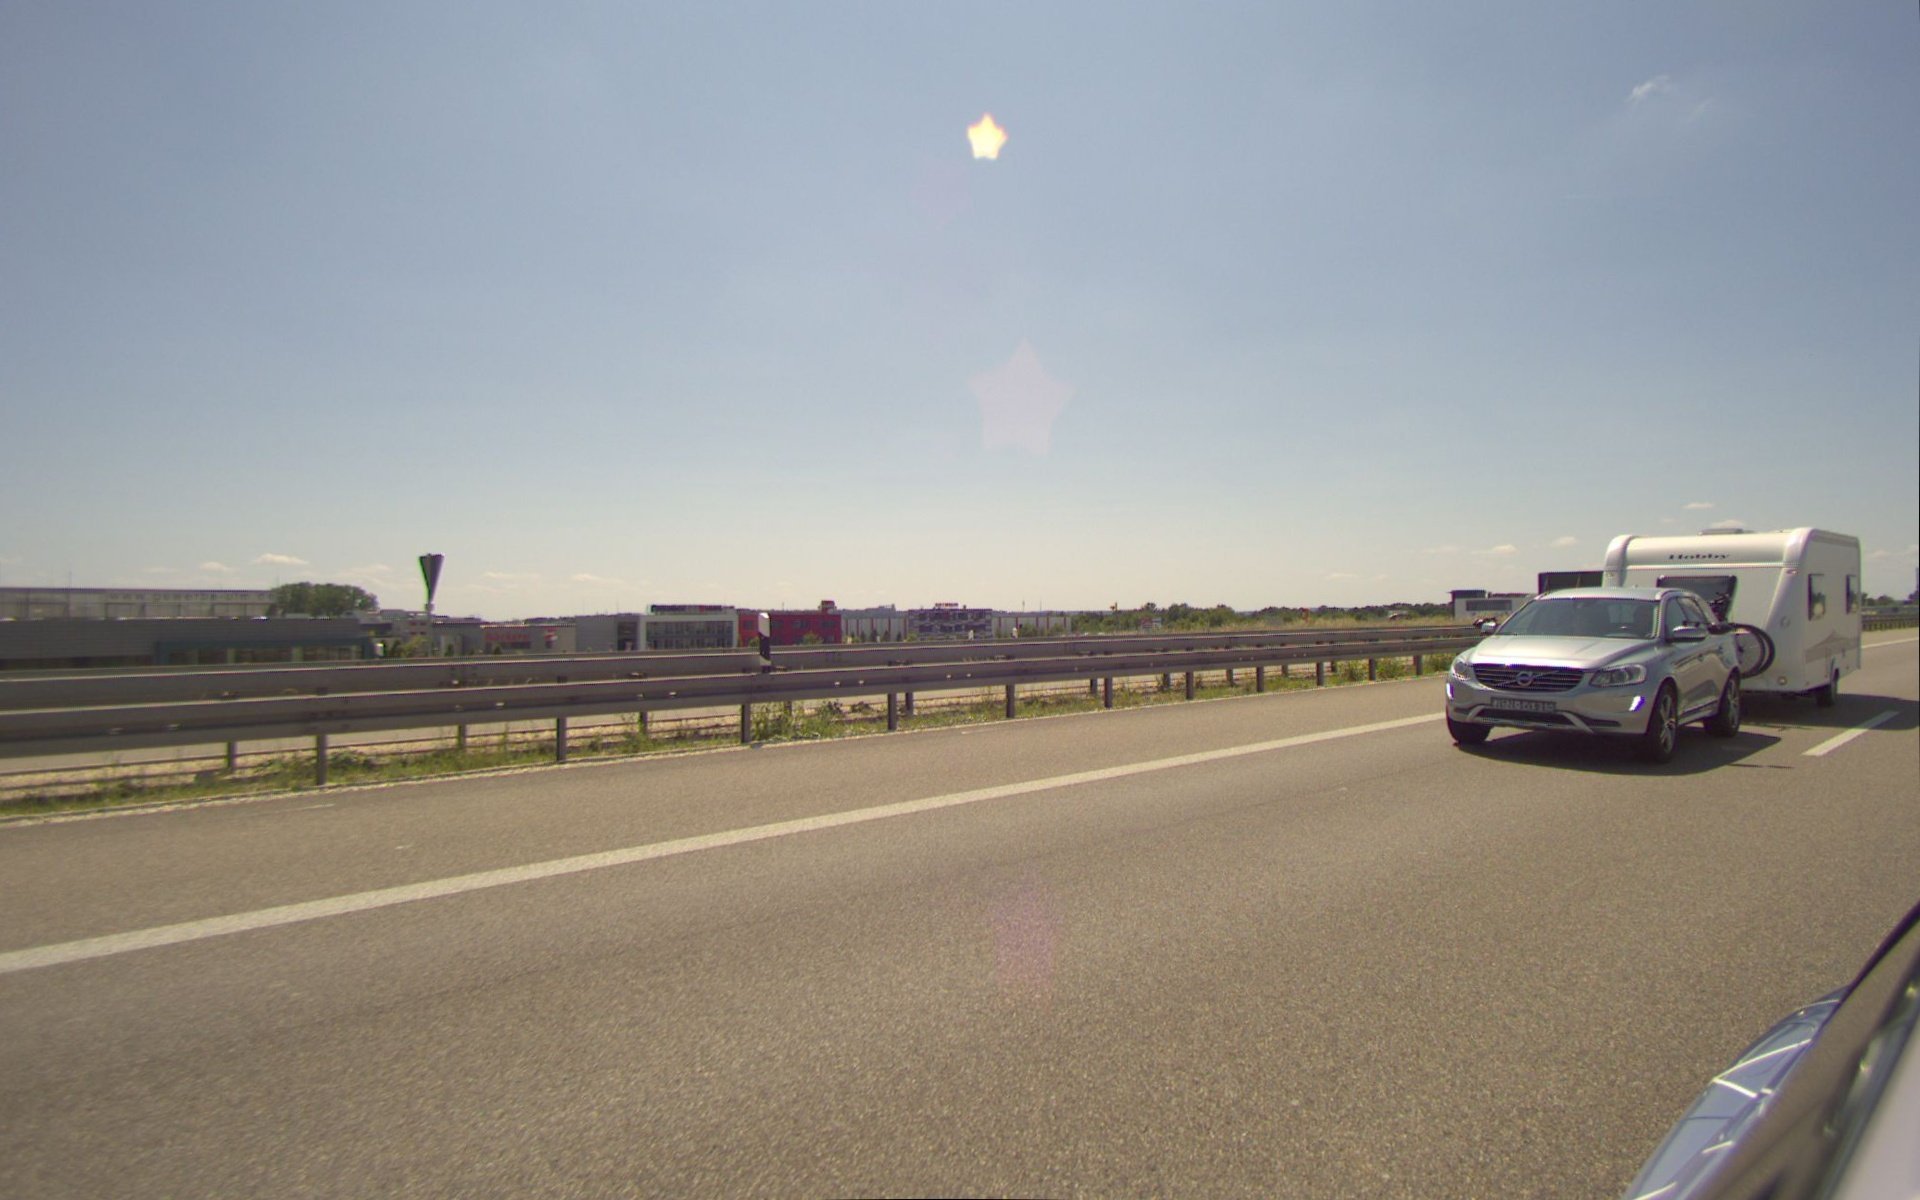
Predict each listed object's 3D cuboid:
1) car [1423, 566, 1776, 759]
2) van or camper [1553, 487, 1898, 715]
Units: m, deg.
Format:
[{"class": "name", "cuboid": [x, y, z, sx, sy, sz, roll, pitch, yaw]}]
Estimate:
[{"class": "car", "cuboid": [7.050, 0.540, 10.928, 4.817, 1.643, 1.884, 0, 0, -40]}, {"class": "van or camper", "cuboid": [11.682, 0.038, 15.107, 7.678, 2.626, 2.517, 1, 0, -40]}]
